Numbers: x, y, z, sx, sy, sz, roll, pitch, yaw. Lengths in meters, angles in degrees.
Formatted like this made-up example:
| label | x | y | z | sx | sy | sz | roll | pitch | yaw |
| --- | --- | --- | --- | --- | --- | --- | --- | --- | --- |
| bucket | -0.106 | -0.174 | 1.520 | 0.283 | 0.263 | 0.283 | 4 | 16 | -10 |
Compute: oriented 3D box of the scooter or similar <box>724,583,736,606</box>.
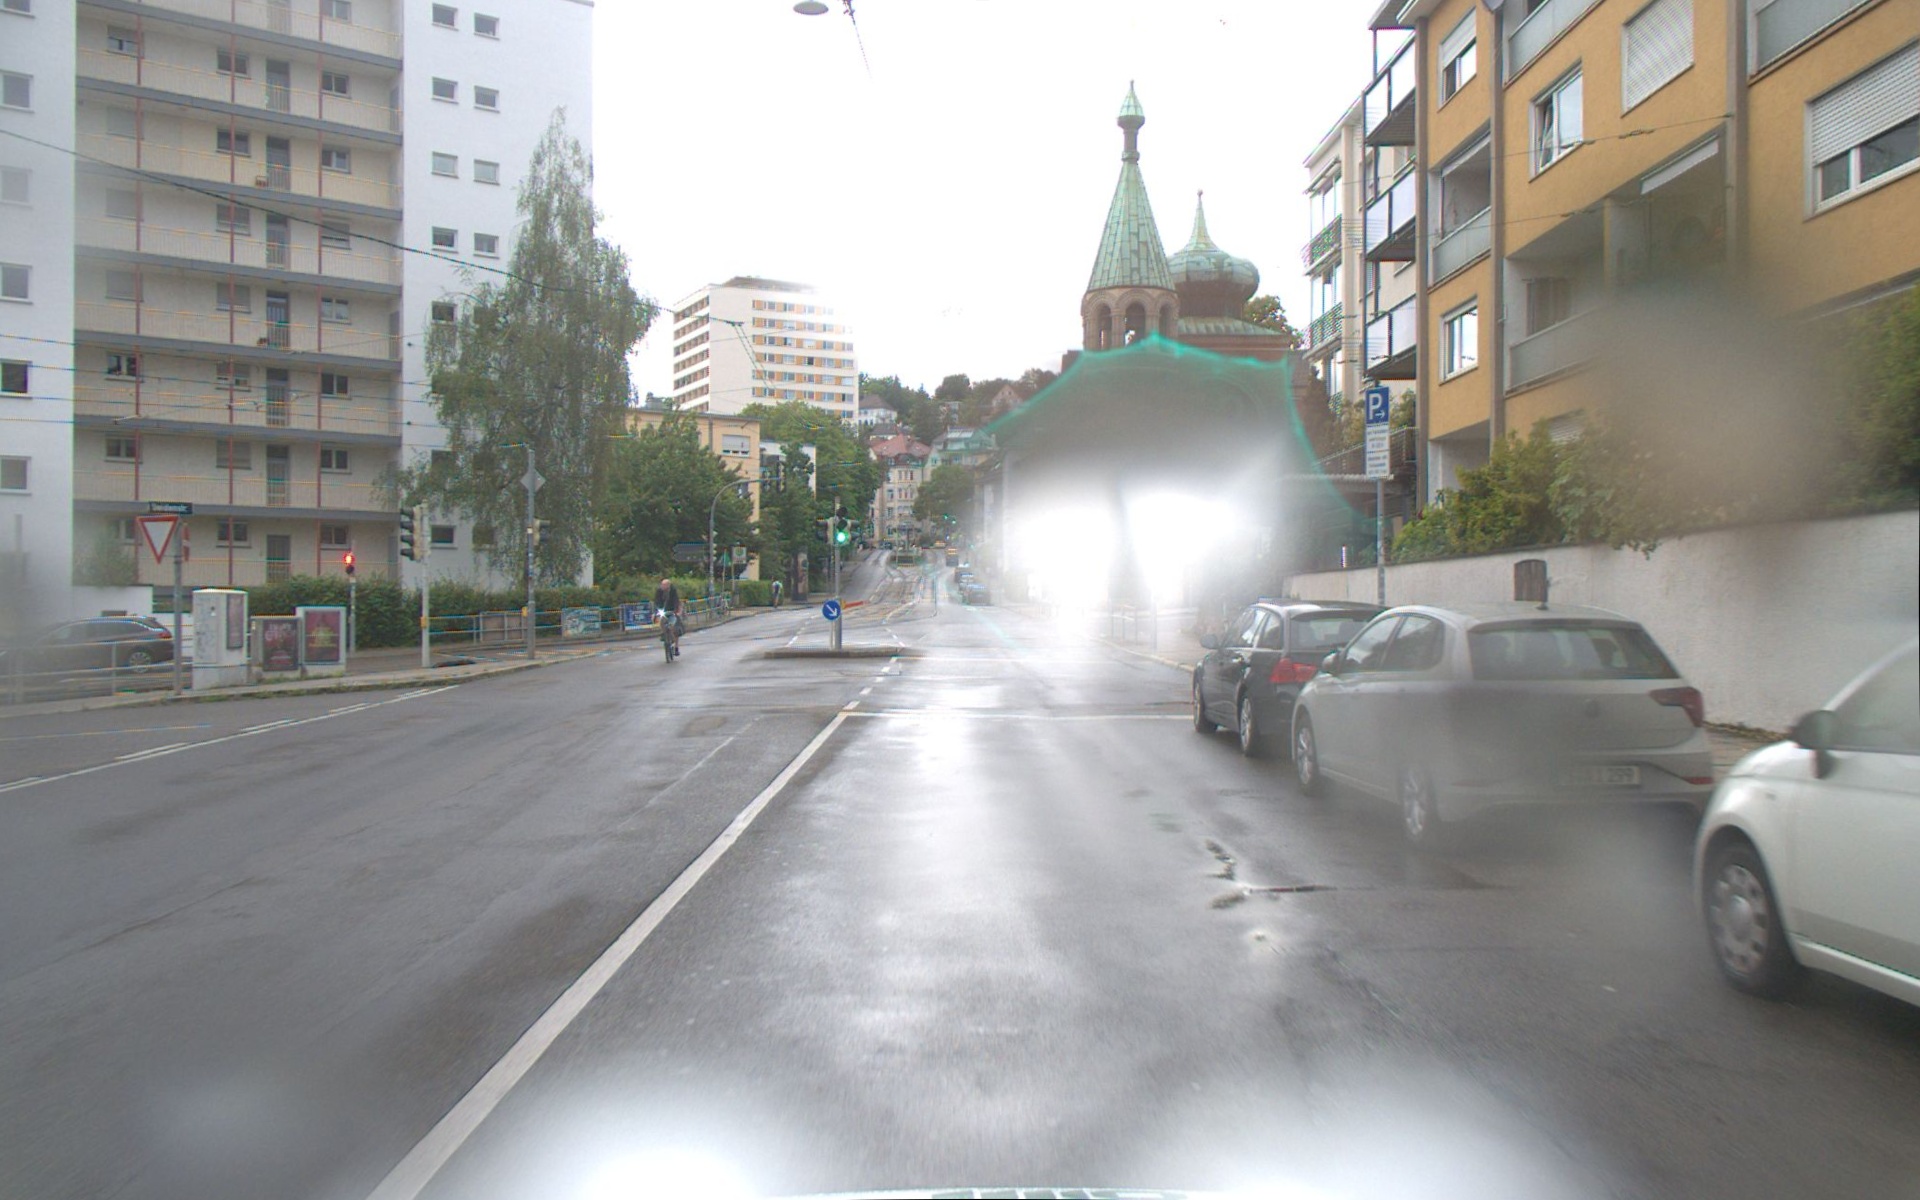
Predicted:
| label | x | y | z | sx | sy | sz | roll | pitch | yaw |
| --- | --- | --- | --- | --- | --- | --- | --- | --- | --- |
| scooter or similar | -12.348 | -0.290 | 88.903 | 0.561 | 1.205 | 1.597 | 1 | -1 | -6 |

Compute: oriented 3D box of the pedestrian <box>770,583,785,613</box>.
| label | x | y | z | sx | sy | sz | roll | pitch | yaw |
| --- | --- | --- | --- | --- | --- | --- | --- | --- | --- |
| pedestrian | -11.638 | -0.131 | 105.401 | 0.901 | 1.878 | 1.016 | 2 | -1 | -5 |

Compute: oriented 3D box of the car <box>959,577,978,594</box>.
| label | x | y | z | sx | sy | sz | roll | pitch | yaw |
| --- | --- | --- | --- | --- | --- | --- | --- | --- | --- |
| car | 0.845 | -1.464 | 164.844 | 1.670 | 1.458 | 4.101 | 1 | 3 | -2 |

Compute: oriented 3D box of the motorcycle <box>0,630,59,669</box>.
| label | x | y | z | sx | sy | sz | roll | pitch | yaw |
| --- | --- | --- | --- | --- | --- | --- | --- | --- | --- |
| motorcycle | -25.672 | 1.346 | 44.670 | 2.219 | 0.956 | 0.766 | -2 | 3 | -44 |

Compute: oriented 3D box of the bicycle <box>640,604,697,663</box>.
| label | x | y | z | sx | sy | sz | roll | pitch | yaw |
| --- | --- | --- | --- | --- | --- | --- | --- | --- | --- |
| bicycle | -5.916 | 0.673 | 33.712 | 0.807 | 1.168 | 2.127 | 0 | -1 | -1 |

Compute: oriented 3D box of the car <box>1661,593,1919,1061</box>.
| label | x | y | z | sx | sy | sz | roll | pitch | yaw |
| --- | --- | --- | --- | --- | --- | --- | --- | --- | --- |
| car | 3.878 | 0.725 | 5.349 | 1.652 | 1.479 | 3.553 | 0 | 0 | -1 |

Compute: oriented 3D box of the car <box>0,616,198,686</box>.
| label | x | y | z | sx | sy | sz | roll | pitch | yaw |
| --- | --- | --- | --- | --- | --- | --- | --- | --- | --- |
| car | -22.085 | 1.271 | 42.153 | 1.843 | 1.486 | 4.461 | -3 | 1 | 45 |

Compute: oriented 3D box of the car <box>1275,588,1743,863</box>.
| label | x | y | z | sx | sy | sz | roll | pitch | yaw |
| --- | --- | --- | --- | --- | --- | --- | --- | --- | --- |
| car | 3.412 | 0.722 | 11.127 | 1.614 | 1.485 | 4.099 | 1 | -1 | -3 |

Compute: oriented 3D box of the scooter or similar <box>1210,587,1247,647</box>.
| label | x | y | z | sx | sy | sz | roll | pitch | yaw |
| --- | --- | --- | --- | --- | --- | --- | --- | --- | --- |
| scooter or similar | 6.442 | 0.396 | 39.699 | 0.524 | 1.350 | 1.659 | -5 | 0 | 0 |

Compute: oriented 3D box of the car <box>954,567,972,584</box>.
| label | x | y | z | sx | sy | sz | roll | pitch | yaw |
| --- | --- | --- | --- | --- | --- | --- | --- | --- | --- |
| car | 0.313 | -2.726 | 181.228 | 1.868 | 1.670 | 4.689 | 1 | 3 | -2 |

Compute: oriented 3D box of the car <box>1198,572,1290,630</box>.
| label | x | y | z | sx | sy | sz | roll | pitch | yaw |
| --- | --- | --- | --- | --- | --- | --- | --- | --- | --- |
| car | 8.228 | 0.065 | 48.277 | 1.816 | 1.529 | 4.448 | -3 | -1 | 0 |

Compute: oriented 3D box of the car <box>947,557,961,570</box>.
| label | x | y | z | sx | sy | sz | roll | pitch | yaw |
| --- | --- | --- | --- | --- | --- | --- | --- | --- | --- |
| car | -0.822 | -4.975 | 225.360 | 1.764 | 1.674 | 4.001 | 1 | 1 | 1 |

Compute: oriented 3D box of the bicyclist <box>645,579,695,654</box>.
| label | x | y | z | sx | sy | sz | roll | pitch | yaw |
| --- | --- | --- | --- | --- | --- | --- | --- | --- | --- |
| bicyclist | -5.916 | 0.344 | 33.827 | 0.807 | 1.487 | 1.140 | 1 | -1 | -1 |

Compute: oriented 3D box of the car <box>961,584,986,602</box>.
| label | x | y | z | sx | sy | sz | roll | pitch | yaw |
| --- | --- | --- | --- | --- | --- | --- | --- | --- | --- |
| car | 1.110 | -0.584 | 139.839 | 1.901 | 1.489 | 4.204 | 1 | 0 | -3 |

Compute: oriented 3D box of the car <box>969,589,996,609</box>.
| label | x | y | z | sx | sy | sz | roll | pitch | yaw |
| --- | --- | --- | --- | --- | --- | --- | --- | --- | --- |
| car | 1.726 | -0.067 | 128.355 | 1.820 | 1.513 | 4.643 | 1 | 0 | -2 |

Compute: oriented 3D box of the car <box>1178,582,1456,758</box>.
| label | x | y | z | sx | sy | sz | roll | pitch | yaw |
| --- | --- | --- | --- | --- | --- | --- | --- | --- | --- |
| car | 3.365 | 0.636 | 16.462 | 1.695 | 1.485 | 4.476 | 1 | -1 | -1 |

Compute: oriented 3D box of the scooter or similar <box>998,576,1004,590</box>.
| label | x | y | z | sx | sy | sz | roll | pitch | yaw |
| --- | --- | --- | --- | --- | --- | --- | --- | --- | --- |
| scooter or similar | 4.093 | -1.700 | 165.544 | 0.562 | 1.270 | 1.612 | 1 | 5 | 4 |

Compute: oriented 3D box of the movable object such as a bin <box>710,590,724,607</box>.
| label | x | y | z | sx | sy | sz | roll | pitch | yaw |
| --- | --- | --- | --- | --- | --- | --- | --- | --- | --- |
| movable object such as a bin | -12.778 | -0.073 | 86.948 | 0.673 | 0.897 | 0.759 | 1 | -1 | -6 |
